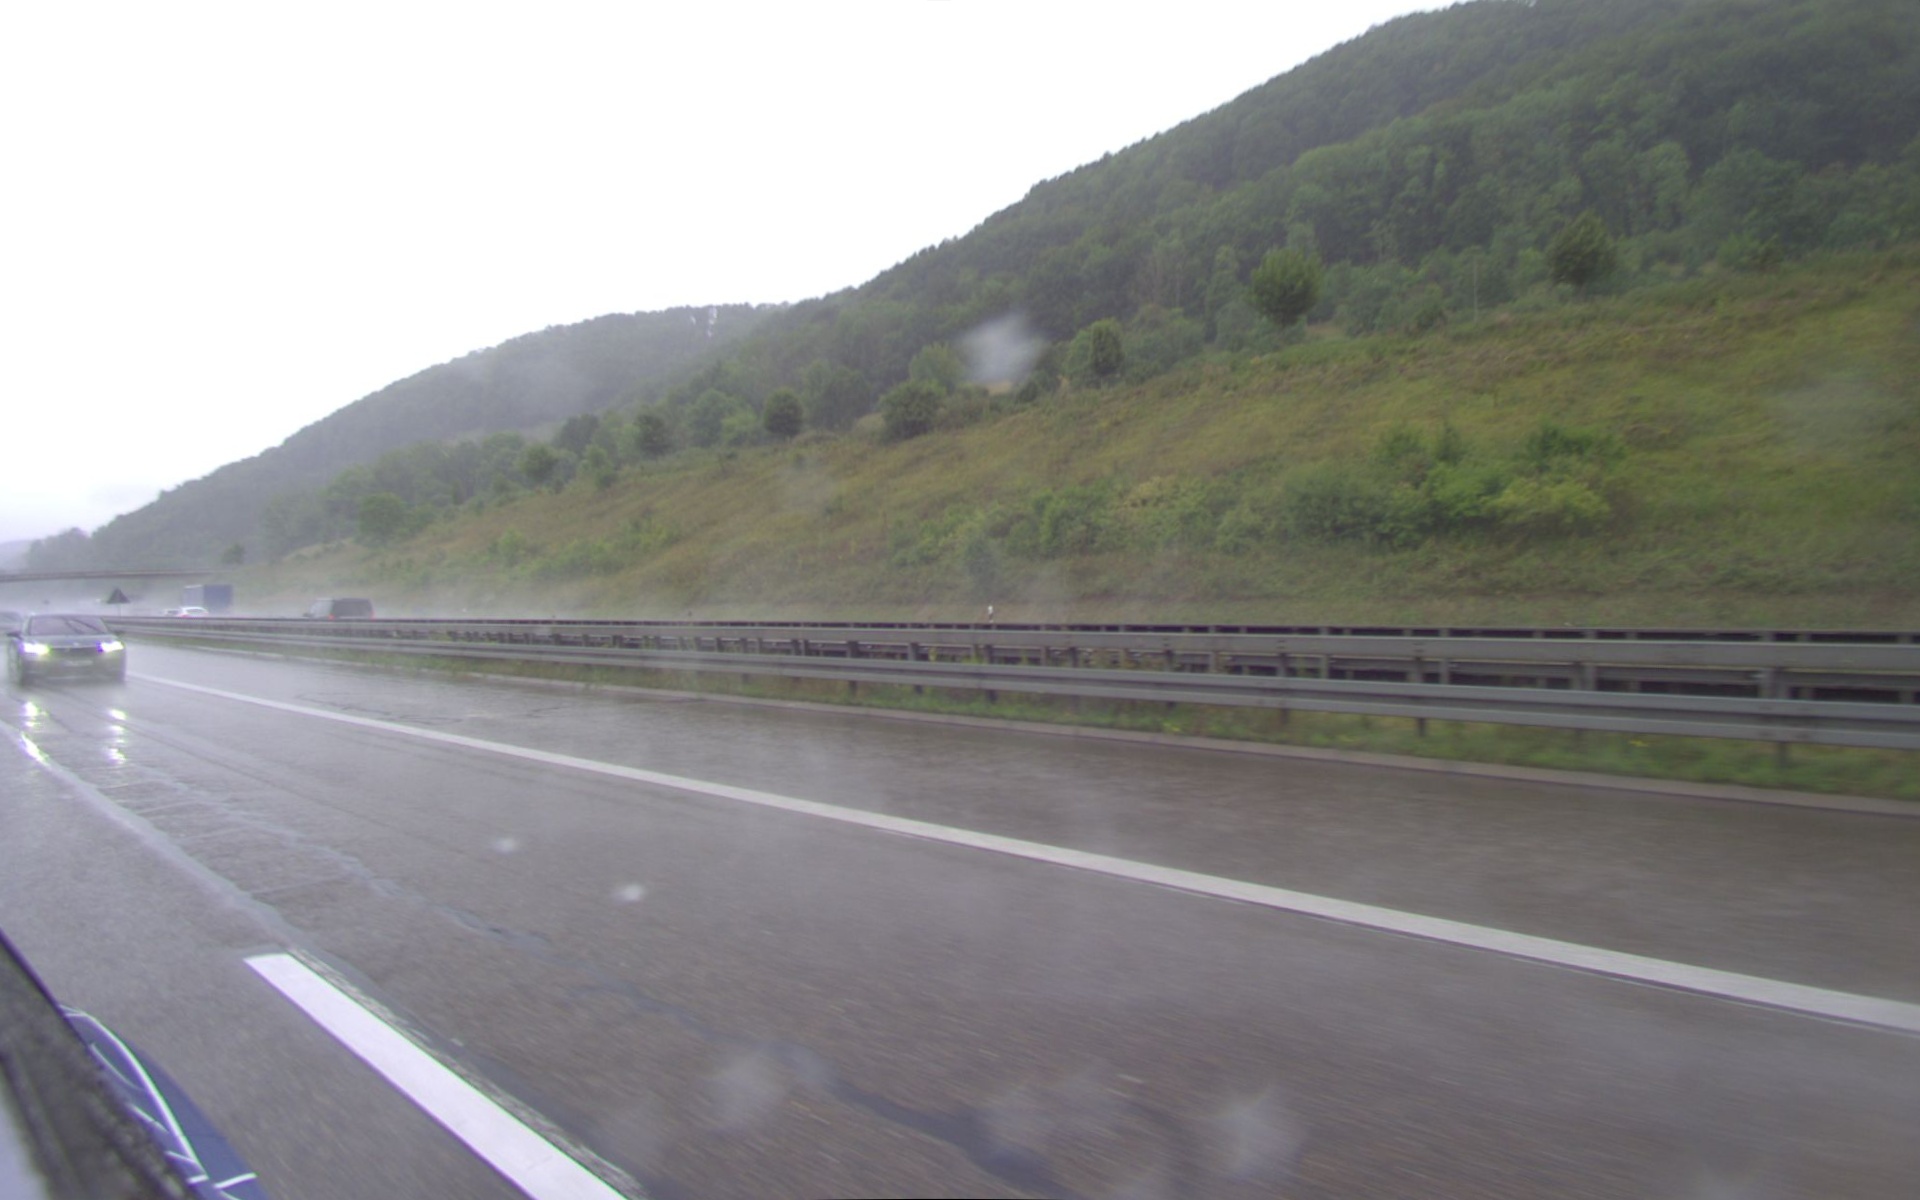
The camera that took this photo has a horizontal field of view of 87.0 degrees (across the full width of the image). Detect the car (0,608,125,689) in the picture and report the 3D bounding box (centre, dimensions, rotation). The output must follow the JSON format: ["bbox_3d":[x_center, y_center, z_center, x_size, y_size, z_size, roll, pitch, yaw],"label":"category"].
[{"bbox_3d":[-21.109,1.050,23.520,4.909,1.696,1.972,-1,-2,43],"label":"car"}]

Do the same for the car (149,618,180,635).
[{"bbox_3d":[-83.919,2.758,106.758,4.660,1.758,1.971,-1,0,44],"label":"car"}]

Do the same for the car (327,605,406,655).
[{"bbox_3d":[-25.681,1.271,43.725,3.998,2.029,1.775,-1,-1,41],"label":"car"}]

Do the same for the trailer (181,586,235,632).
[{"bbox_3d":[-84.624,1.037,113.794,14.048,4.822,2.705,-1,0,45],"label":"trailer"}]

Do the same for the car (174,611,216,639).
[{"bbox_3d":[-59.410,1.915,78.579,1.970,2.029,5.394,0,-1,-44],"label":"car"}]

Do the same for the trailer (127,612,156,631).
[{"bbox_3d":[-145.104,3.773,179.255,2.780,3.076,14.912,-1,0,-44],"label":"trailer"}]

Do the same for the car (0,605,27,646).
[{"bbox_3d":[-41.944,1.090,43.891,3.747,1.715,1.791,-1,0,41],"label":"car"}]
